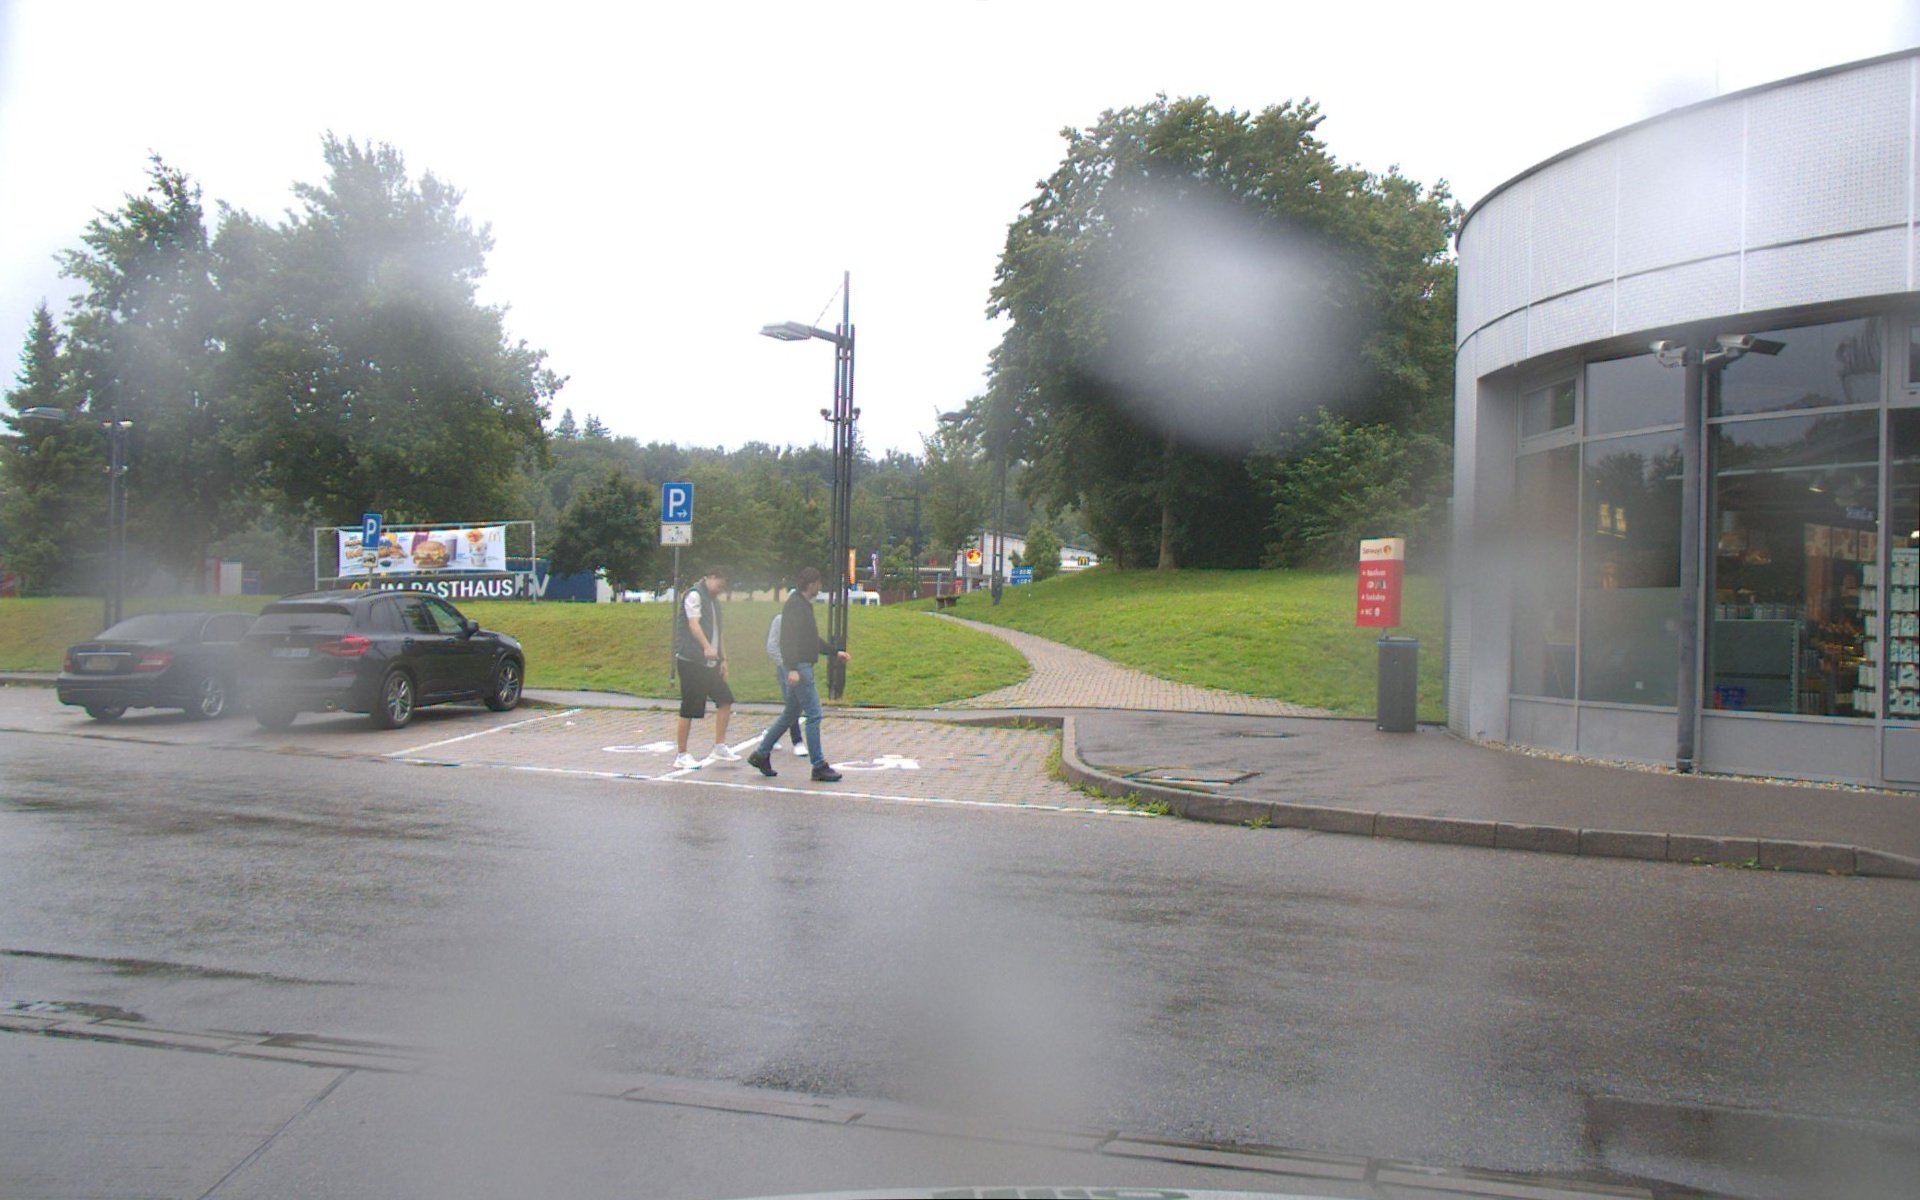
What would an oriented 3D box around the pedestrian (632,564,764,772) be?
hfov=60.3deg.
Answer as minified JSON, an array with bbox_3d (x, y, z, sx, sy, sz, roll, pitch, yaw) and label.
[{"bbox_3d":[-2.462,0.616,15.561,0.954,1.880,0.772,0,0,28],"label":"pedestrian"}]

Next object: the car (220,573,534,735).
[{"bbox_3d":[-7.331,0.612,21.330,1.844,1.860,4.417,0,0,11],"label":"car"}]

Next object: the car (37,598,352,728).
[{"bbox_3d":[-10.356,0.785,22.769,1.844,1.592,4.189,0,0,11],"label":"car"}]

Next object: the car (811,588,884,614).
[{"bbox_3d":[-9.076,0.067,133.610,5.310,2.049,2.456,1,0,19],"label":"car"}]

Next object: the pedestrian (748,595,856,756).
[{"bbox_3d":[-1.598,0.741,16.749,0.872,1.577,0.659,0,0,29],"label":"pedestrian"}]

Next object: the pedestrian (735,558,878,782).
[{"bbox_3d":[-1.355,0.591,14.633,0.979,1.897,0.798,0,0,28],"label":"pedestrian"}]
